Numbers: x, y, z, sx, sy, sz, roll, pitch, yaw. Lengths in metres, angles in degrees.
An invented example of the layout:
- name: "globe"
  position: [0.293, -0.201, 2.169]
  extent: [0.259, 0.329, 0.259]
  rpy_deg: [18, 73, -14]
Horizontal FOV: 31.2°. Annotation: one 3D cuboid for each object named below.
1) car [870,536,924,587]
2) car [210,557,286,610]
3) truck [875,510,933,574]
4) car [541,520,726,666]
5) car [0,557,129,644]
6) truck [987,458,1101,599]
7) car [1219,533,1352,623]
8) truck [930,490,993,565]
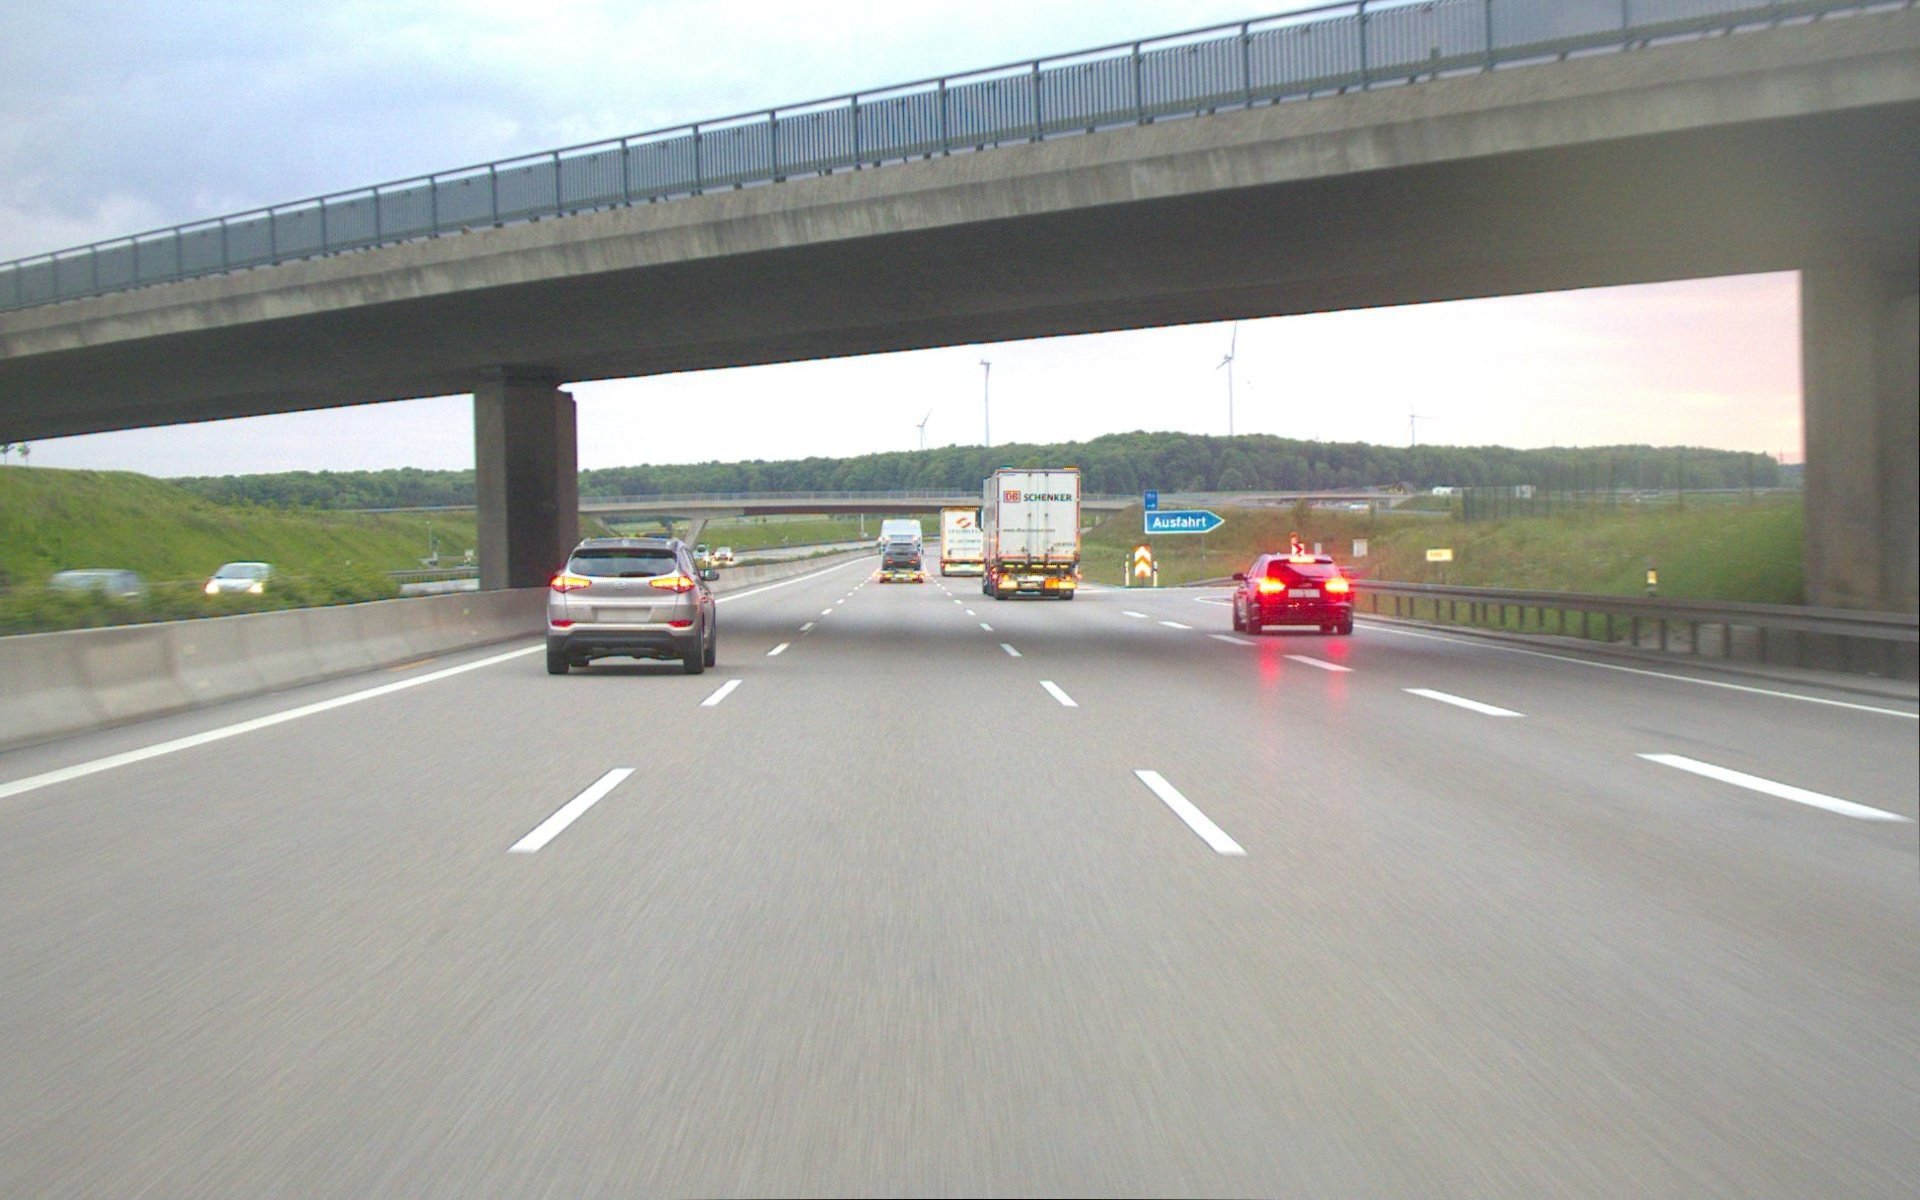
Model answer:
- name: "car"
  position: [-3.052, -1.859, 164.752]
  extent: [2.516, 2.383, 6.497]
  rpy_deg: [-1, 1, -2]
- name: "car"
  position: [-20.725, -0.502, 100.204]
  extent: [1.563, 1.466, 3.937]
  rpy_deg: [-1, 1, -3]
- name: "truck"
  position: [-2.996, -3.079, 180.849]
  extent: [2.951, 3.206, 8.407]
  rpy_deg: [1, 2, -1]
- name: "car"
  position: [-3.982, -0.133, 42.705]
  extent: [1.852, 1.687, 5.512]
  rpy_deg: [0, 1, -1]
- name: "car"
  position: [-16.576, -0.020, 63.441]
  extent: [1.522, 1.501, 4.410]
  rpy_deg: [-1, 1, -2]
- name: "truck"
  position: [2.572, -2.295, 108.543]
  extent: [3.233, 4.213, 9.599]
  rpy_deg: [1, 2, 0]
- name: "car"
  position: [5.885, -0.423, 62.531]
  extent: [1.918, 1.574, 4.000]
  rpy_deg: [0, 1, -1]
- name: "truck"
  position: [0.037, -4.352, 205.523]
  extent: [3.525, 4.330, 8.407]
  rpy_deg: [1, 2, -1]
